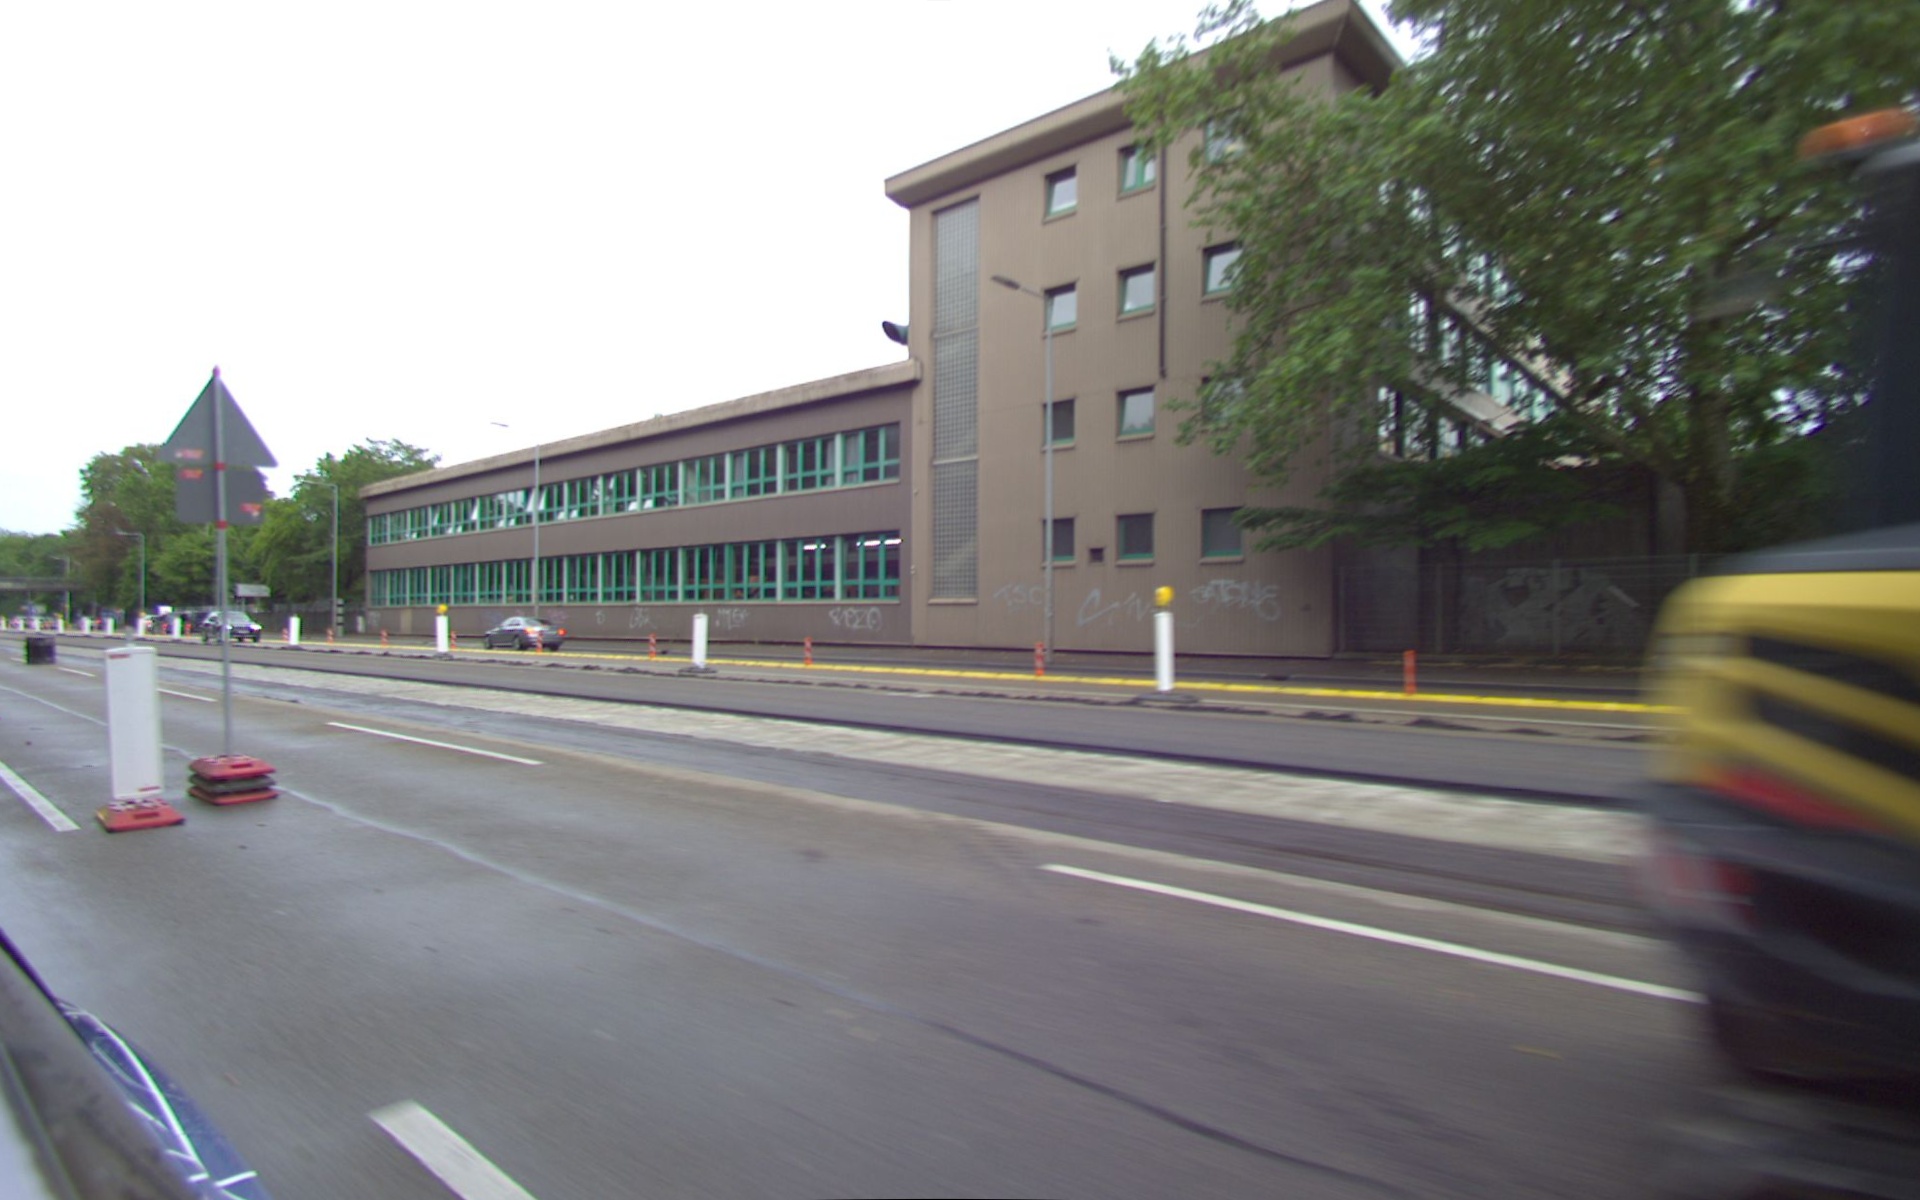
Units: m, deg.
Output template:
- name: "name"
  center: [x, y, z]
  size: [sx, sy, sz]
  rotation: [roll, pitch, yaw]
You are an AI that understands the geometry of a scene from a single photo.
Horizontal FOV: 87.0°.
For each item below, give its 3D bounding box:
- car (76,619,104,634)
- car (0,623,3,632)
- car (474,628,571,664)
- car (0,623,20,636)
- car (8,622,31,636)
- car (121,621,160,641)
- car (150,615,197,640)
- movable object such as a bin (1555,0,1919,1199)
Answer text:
- name: "car"
  center: [-101.548, 3.095, 118.136]
  size: [4.177, 1.598, 1.973]
  rotation: [-1, 0, 41]
- name: "car"
  center: [-164.283, 4.738, 171.944]
  size: [4.262, 1.440, 1.973]
  rotation: [-2, -1, 40]
- name: "car"
  center: [-18.647, 1.897, 43.055]
  size: [4.789, 1.358, 1.972]
  rotation: [-1, 0, 42]
- name: "car"
  center: [-117.269, 3.647, 124.609]
  size: [3.990, 1.546, 1.785]
  rotation: [-1, 0, 41]
- name: "car"
  center: [-127.223, 3.936, 136.943]
  size: [4.674, 1.781, 1.967]
  rotation: [-1, 0, 43]
- name: "car"
  center: [-75.226, 2.841, 92.896]
  size: [4.932, 1.719, 1.918]
  rotation: [-1, 0, 40]
- name: "car"
  center: [-60.233, 2.091, 77.480]
  size: [4.953, 1.794, 1.972]
  rotation: [-1, 0, 42]
- name: "movable object such as a bin"
  center: [4.034, -0.349, 0.702]
  size: [5.980, 3.393, 1.972]
  rotation: [-1, 0, 42]
